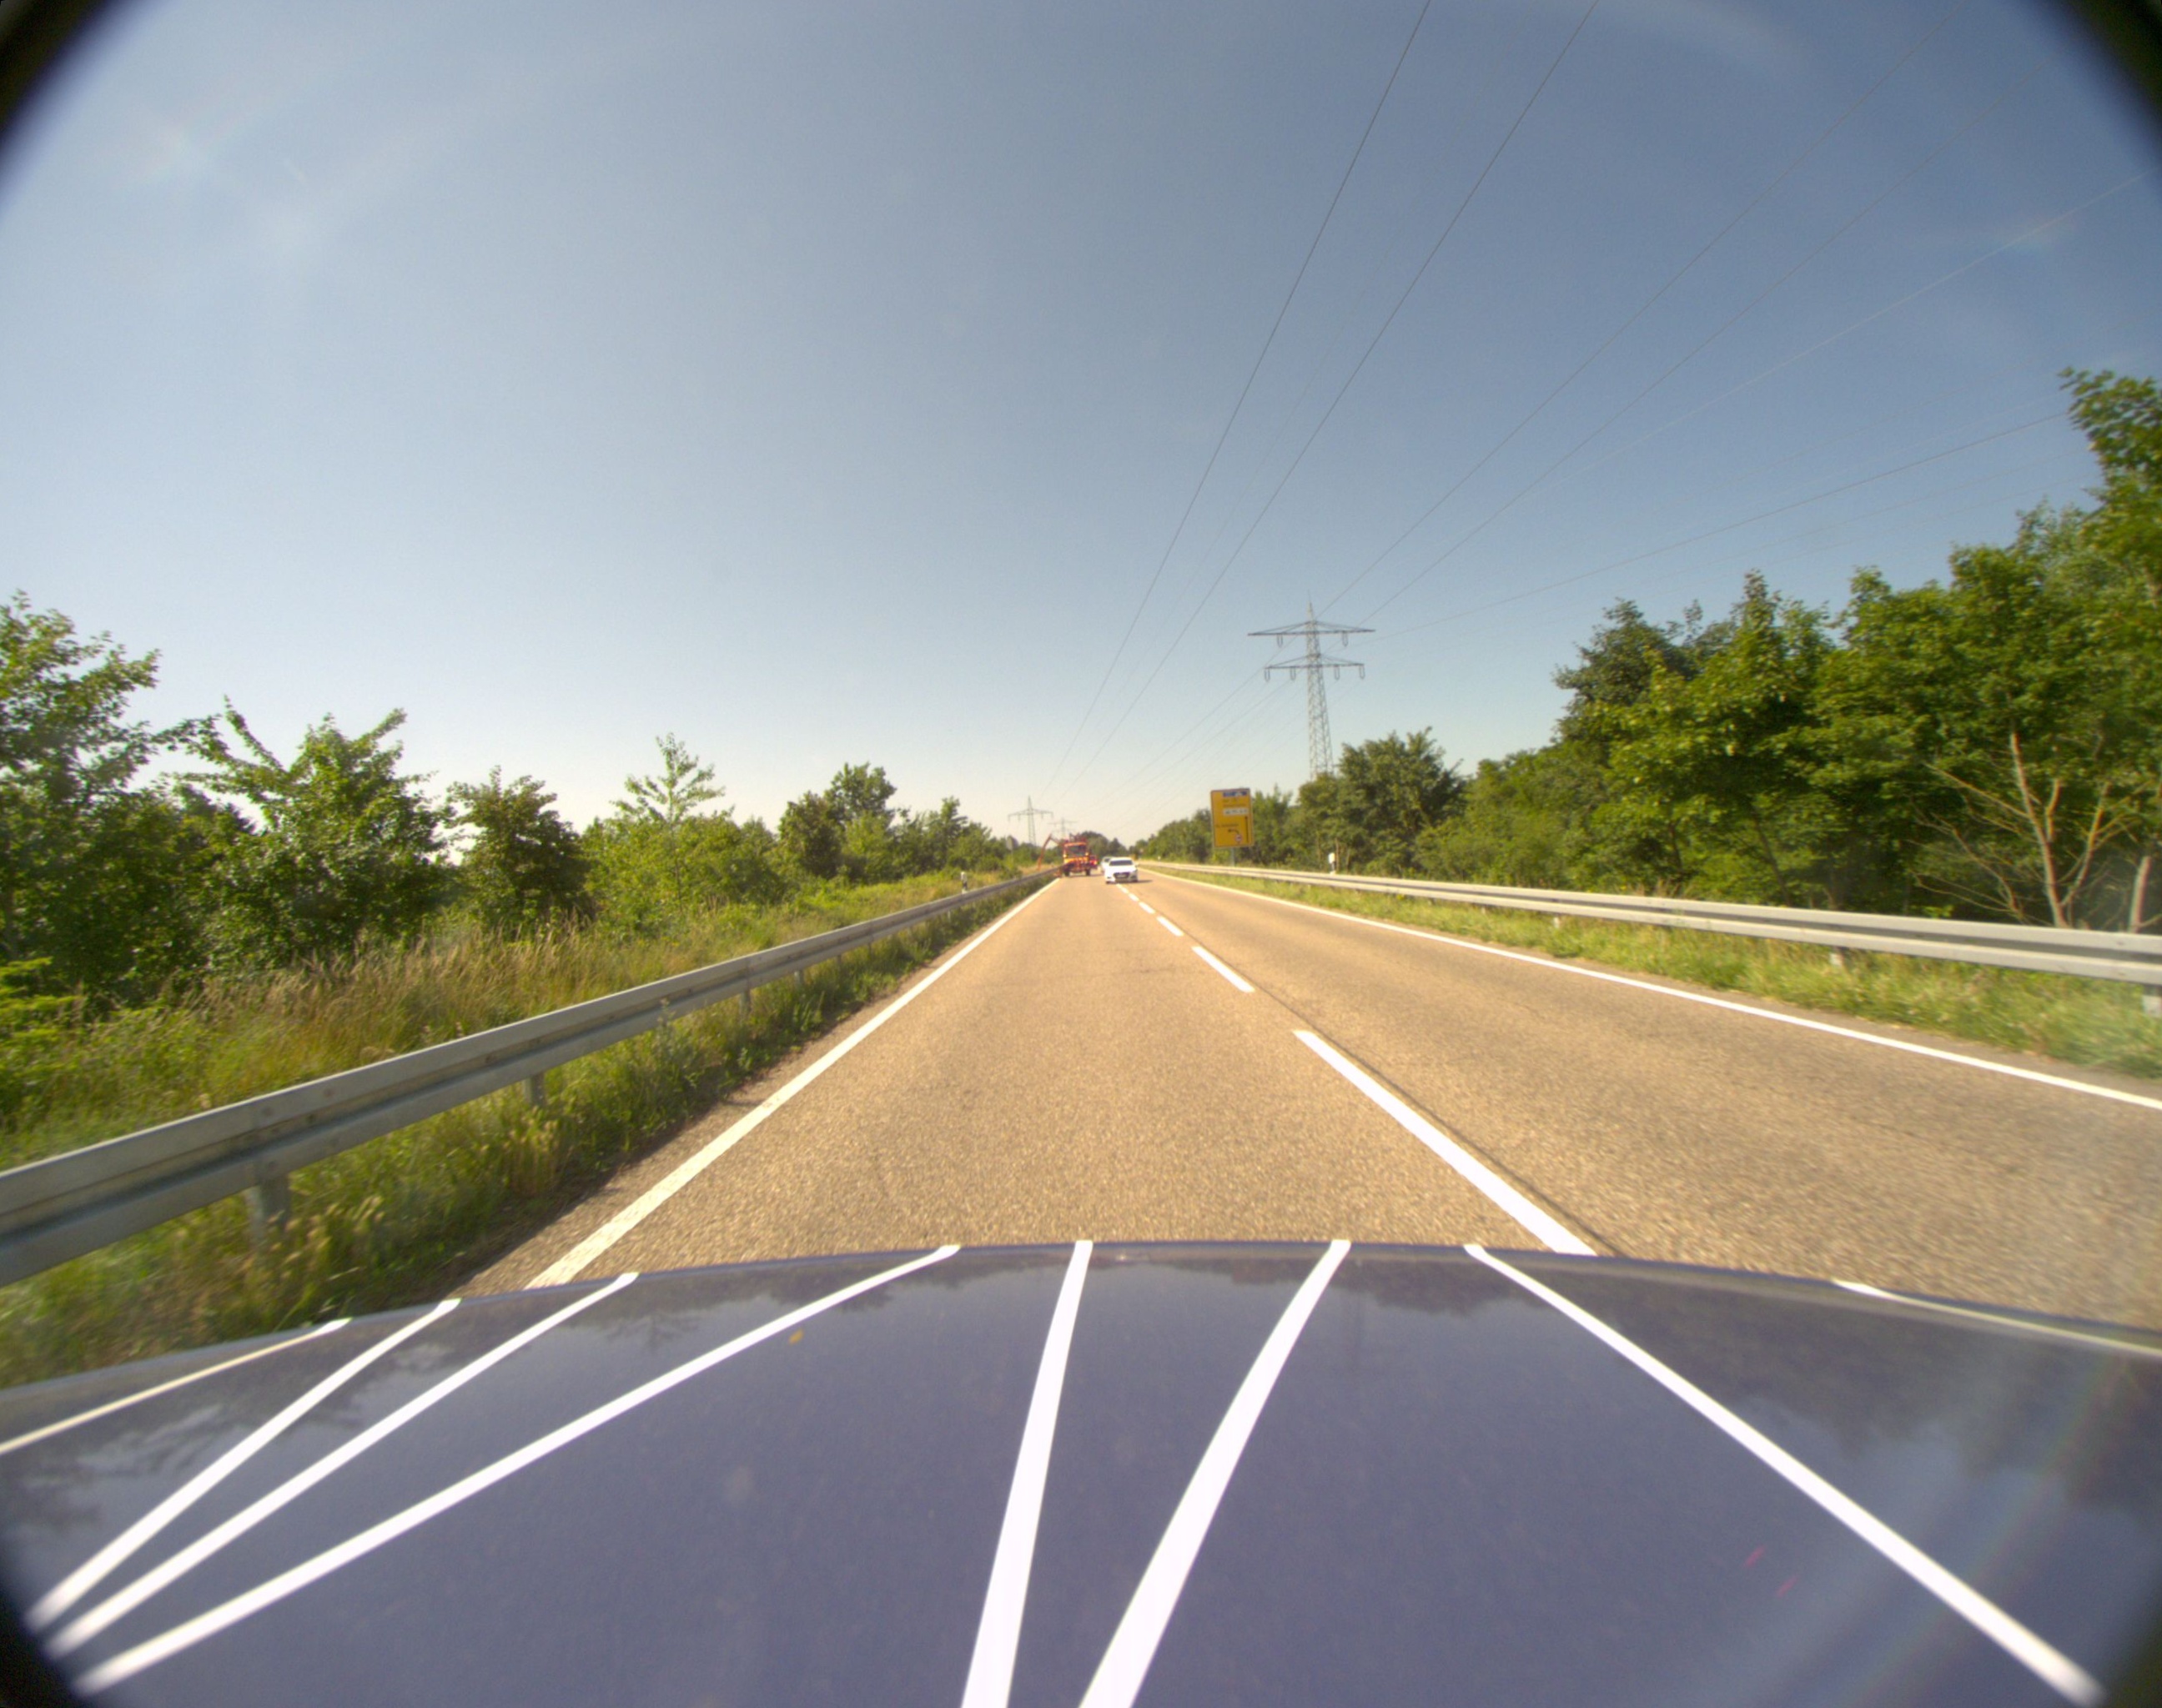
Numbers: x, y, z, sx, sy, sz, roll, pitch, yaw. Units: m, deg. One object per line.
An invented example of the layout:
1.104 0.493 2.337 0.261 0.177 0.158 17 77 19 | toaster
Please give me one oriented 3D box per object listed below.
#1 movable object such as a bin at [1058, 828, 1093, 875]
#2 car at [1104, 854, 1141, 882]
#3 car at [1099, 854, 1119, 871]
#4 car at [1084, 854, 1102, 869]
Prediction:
-0.445 -0.191 68.045 2.760 3.816 9.445 -3 0 0 | movable object such as a bin
2.392 0.802 44.707 1.922 1.496 4.794 -3 0 1 | car
2.773 0.834 76.750 1.922 1.539 4.794 -3 0 1 | car
1.620 1.019 104.093 2.126 1.934 5.019 -3 0 -1 | car
